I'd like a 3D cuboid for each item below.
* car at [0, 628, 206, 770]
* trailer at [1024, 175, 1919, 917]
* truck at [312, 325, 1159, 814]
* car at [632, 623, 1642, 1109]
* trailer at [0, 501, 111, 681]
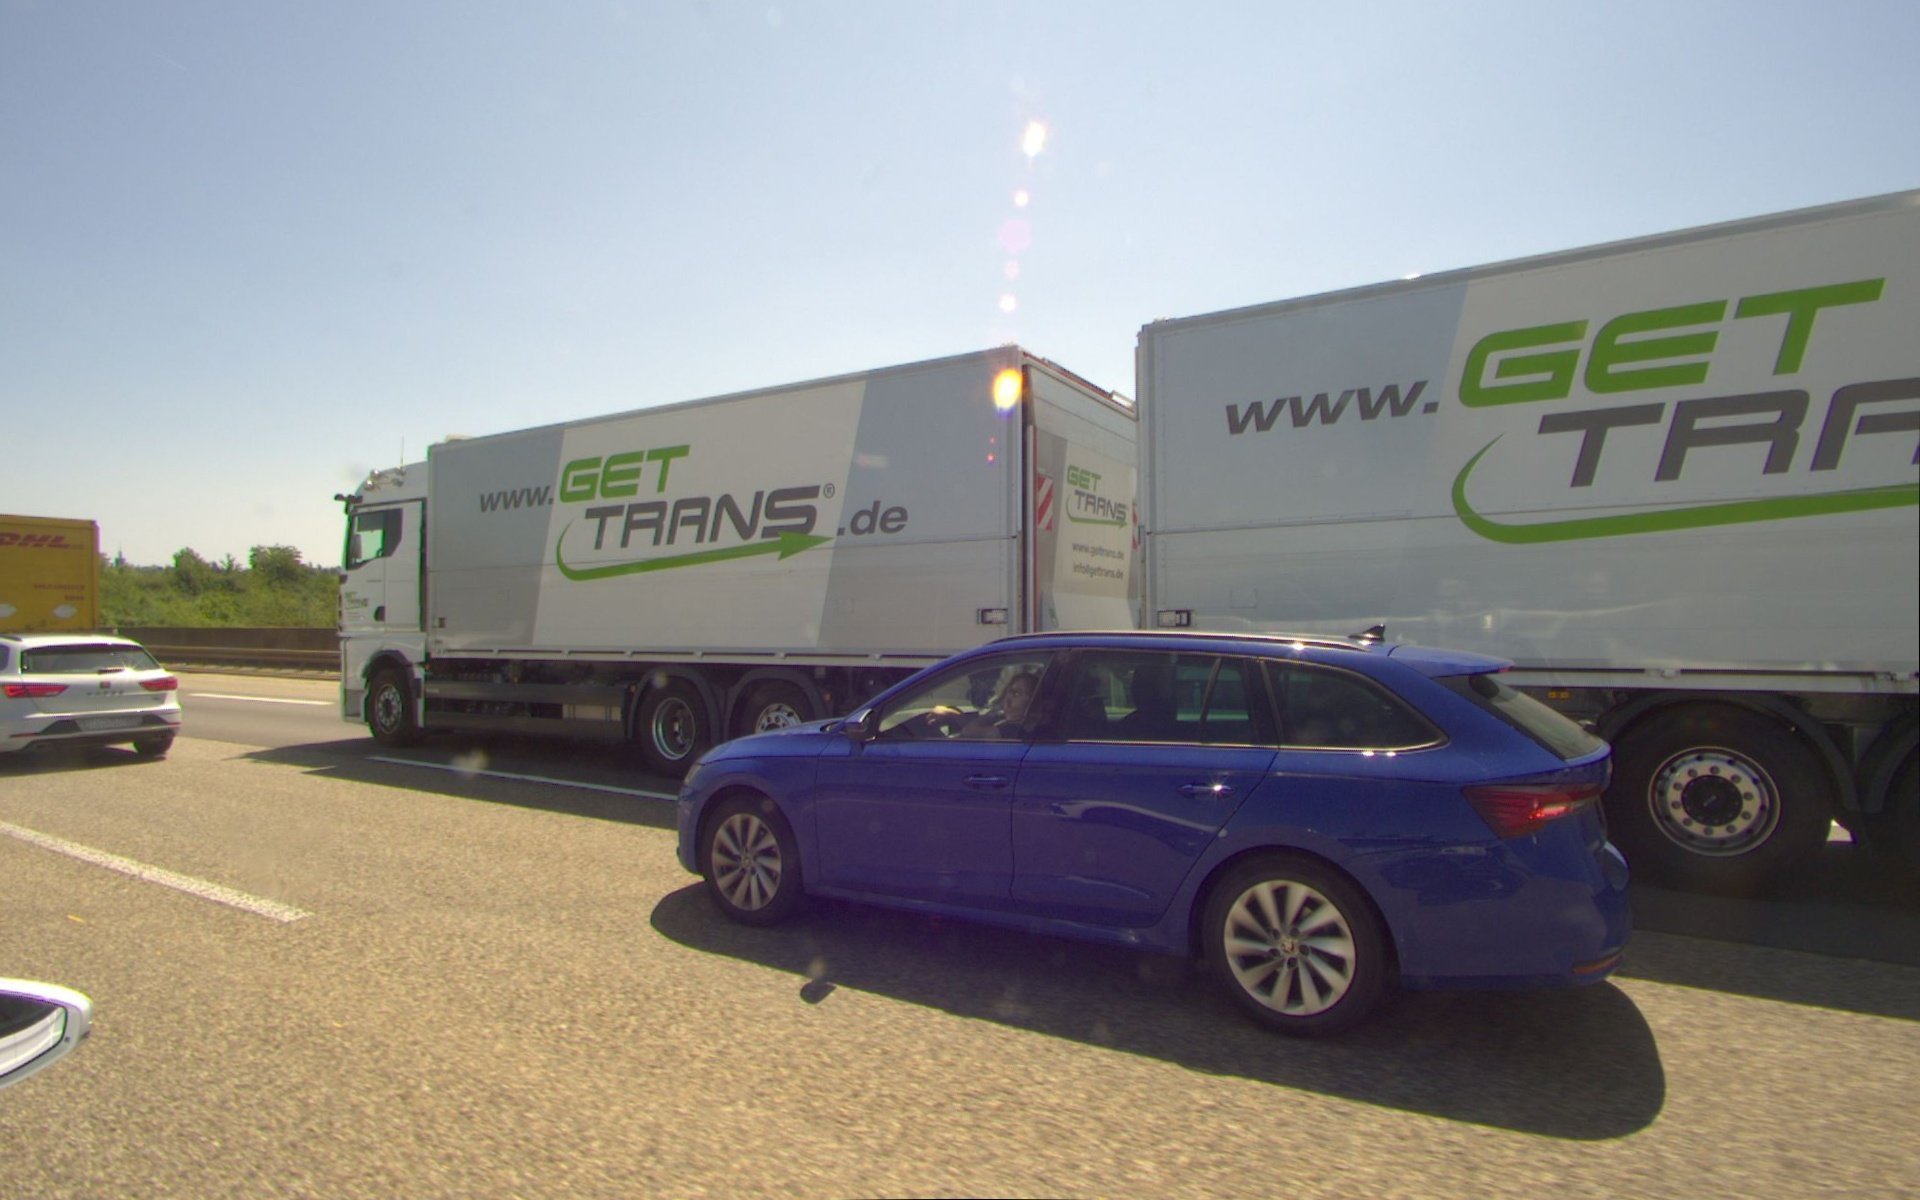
[{"bbox_3d":[-10.815,1.030,11.779,4.128,1.405,1.778,-1,-1,32],"label":"car"},{"bbox_3d":[4.699,-0.218,6.574,8.170,3.640,2.841,-1,-2,31],"label":"trailer"},{"bbox_3d":[-3.262,-0.075,11.526,10.615,3.648,2.846,-1,-2,32],"label":"truck"},{"bbox_3d":[0.587,0.849,4.902,4.434,1.459,1.707,-1,-1,31],"label":"car"},{"bbox_3d":[-25.183,-0.084,25.619,8.802,4.074,2.697,-1,-2,32],"label":"trailer"}]
